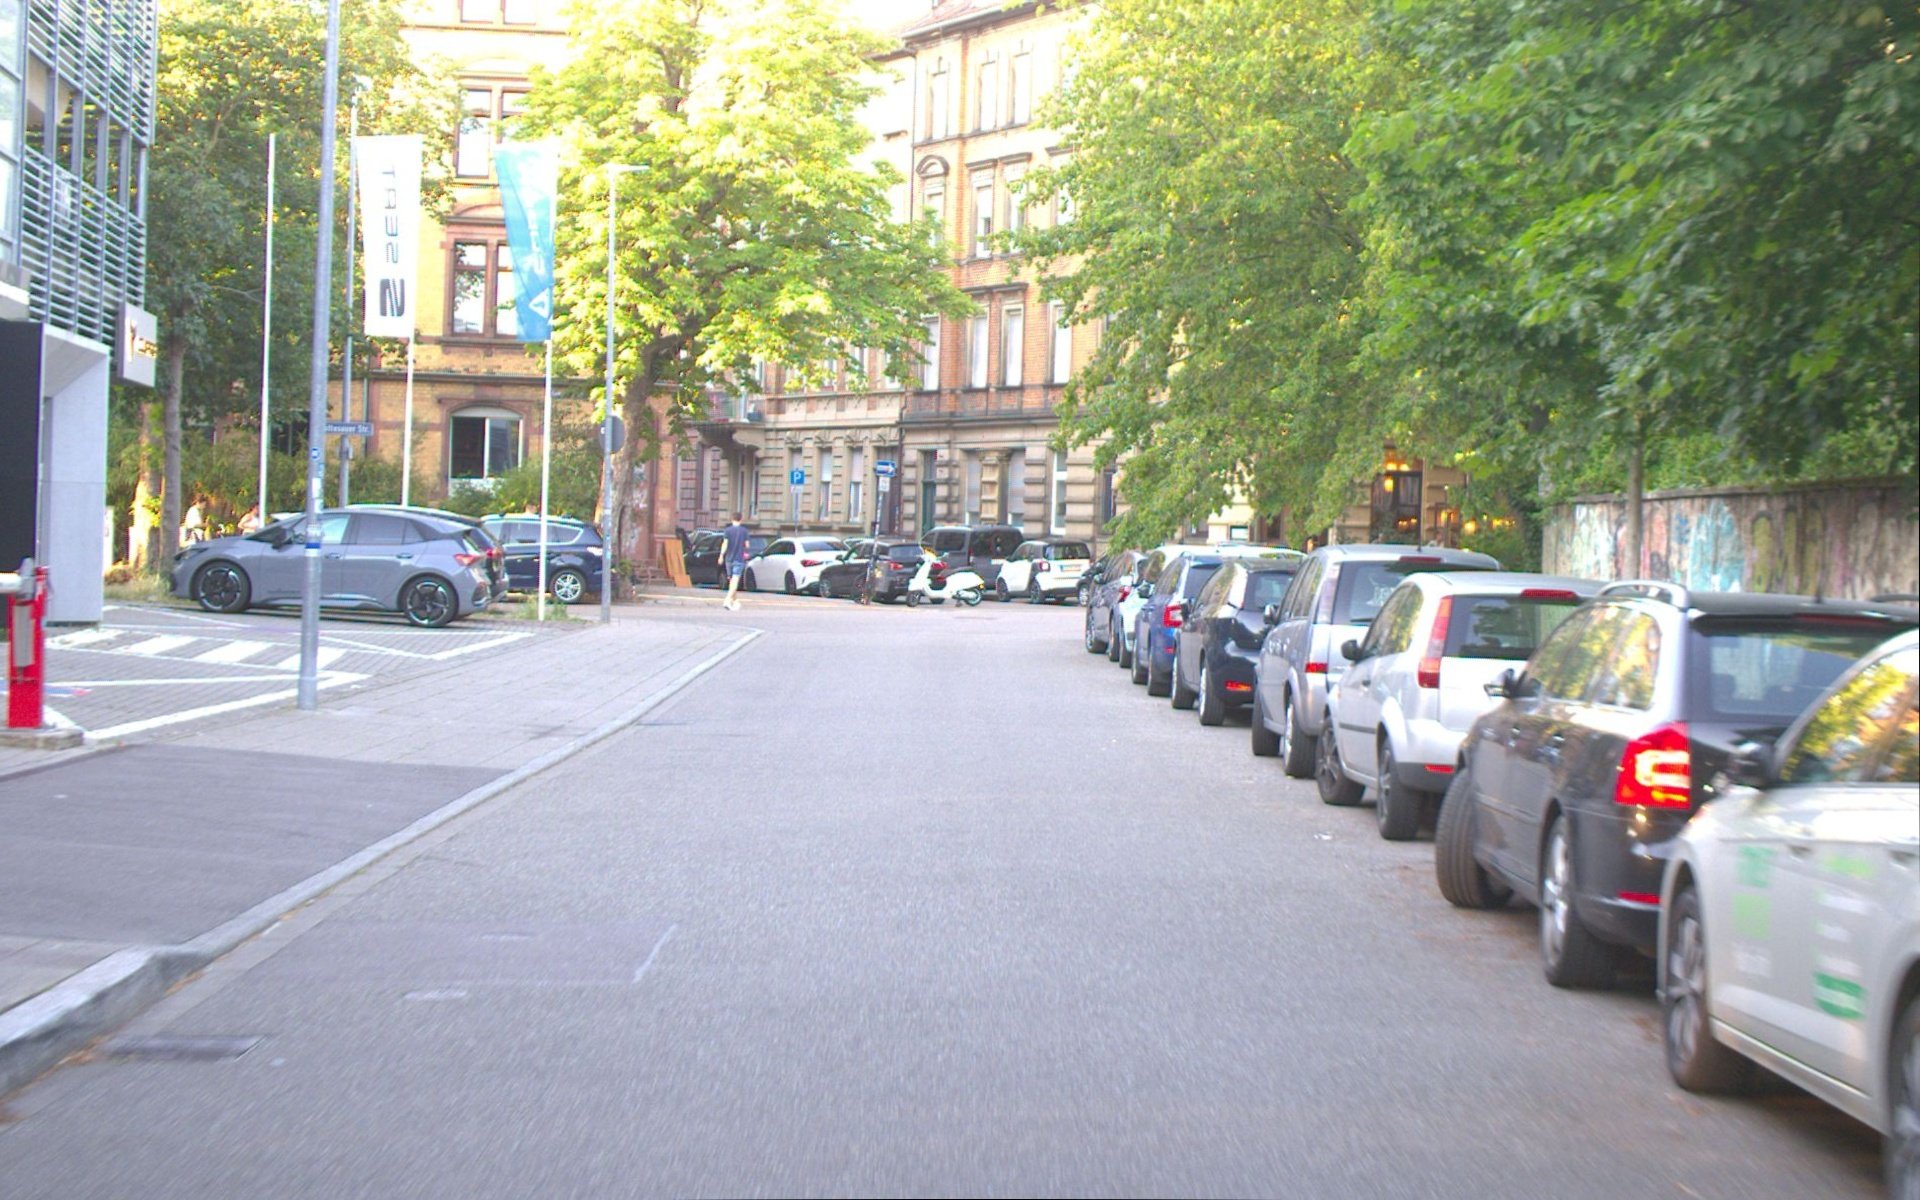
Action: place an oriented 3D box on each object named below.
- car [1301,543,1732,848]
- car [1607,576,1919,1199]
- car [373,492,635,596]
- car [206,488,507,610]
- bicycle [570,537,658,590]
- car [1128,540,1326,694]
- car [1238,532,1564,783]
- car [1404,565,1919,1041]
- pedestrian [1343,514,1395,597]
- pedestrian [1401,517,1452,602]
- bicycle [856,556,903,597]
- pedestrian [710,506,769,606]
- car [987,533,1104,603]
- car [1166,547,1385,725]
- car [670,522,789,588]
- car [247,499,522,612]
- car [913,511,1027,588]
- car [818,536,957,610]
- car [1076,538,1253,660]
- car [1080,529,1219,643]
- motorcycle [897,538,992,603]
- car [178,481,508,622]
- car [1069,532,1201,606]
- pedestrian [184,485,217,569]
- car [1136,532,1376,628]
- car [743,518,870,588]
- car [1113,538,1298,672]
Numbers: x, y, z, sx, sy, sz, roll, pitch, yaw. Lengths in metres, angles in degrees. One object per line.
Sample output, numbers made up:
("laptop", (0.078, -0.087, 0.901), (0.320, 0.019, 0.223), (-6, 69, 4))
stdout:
("car", (3.057, 0.459, 19.652), (1.759, 1.436, 3.874), (2, 2, -1))
("car", (2.955, 0.747, 8.807), (1.759, 1.437, 4.006), (2, 2, -1))
("car", (-8.697, -1.082, 65.847), (4.828, 1.726, 1.921), (3, 2, -6))
("car", (-8.743, -0.756, 50.049), (4.066, 1.612, 1.765), (2, 2, -2))
("bicycle", (-6.890, -0.726, 68.485), (1.671, 1.024, 0.446), (1, 2, -24))
("car", (2.758, 0.135, 36.270), (1.695, 1.471, 4.117), (2, 1, -1))
("car", (3.072, 0.340, 24.660), (1.759, 1.598, 3.874), (2, 1, -1))
("car", (2.928, 0.650, 13.355), (1.759, 1.449, 4.393), (2, 1, -1))
("pedestrian", (9.130, -1.000, 76.741), (0.840, 1.798, 0.776), (1, 2, -21))
("pedestrian", (10.126, -0.889, 74.636), (0.773, 1.798, 0.843), (1, 2, -15))
("bicycle", (-1.684, -0.492, 71.803), (0.425, 0.819, 1.460), (3, 2, 22))
("pedestrian", (-4.093, -0.816, 63.725), (0.735, 1.798, 1.122), (1, 2, -21))
("car", (2.029, -0.778, 82.205), (1.674, 1.520, 2.768), (2, 2, -24))
("car", (2.848, 0.288, 31.681), (1.596, 1.471, 3.774), (2, 1, -1))
("car", (-5.787, -1.137, 86.089), (1.654, 1.426, 3.897), (2, 2, -24))
("car", (-9.053, -0.713, 54.372), (4.045, 1.470, 1.921), (4, 2, -4))
("car", (0.233, -1.268, 85.731), (1.674, 1.776, 3.016), (2, 2, -24))
("car", (-1.661, -0.623, 77.222), (1.654, 1.426, 3.991), (2, 2, -24))
("car", (2.657, -0.055, 45.606), (1.695, 1.471, 4.213), (2, 1, -5))
("car", (2.752, -0.239, 50.638), (1.695, 1.565, 3.972), (2, 1, -1))
("motorcycle", (-0.341, -0.635, 73.913), (1.931, 1.336, 0.577), (1, 2, -10))
("car", (-8.376, -0.686, 46.944), (4.129, 1.612, 1.913), (4, 2, -2))
("car", (3.978, -0.721, 78.744), (1.674, 1.520, 3.245), (1, 2, -24))
("pedestrian", (-15.035, -1.445, 68.063), (0.542, 1.629, 0.448), (2, 2, -5))
("car", (4.969, -0.318, 57.446), (1.880, 1.461, 3.961), (5, 3, 43))
("car", (-3.673, -1.138, 81.659), (1.654, 1.426, 4.168), (2, 2, -22))
("car", (2.896, 0.026, 41.199), (1.695, 1.471, 3.560), (2, 1, -4))
